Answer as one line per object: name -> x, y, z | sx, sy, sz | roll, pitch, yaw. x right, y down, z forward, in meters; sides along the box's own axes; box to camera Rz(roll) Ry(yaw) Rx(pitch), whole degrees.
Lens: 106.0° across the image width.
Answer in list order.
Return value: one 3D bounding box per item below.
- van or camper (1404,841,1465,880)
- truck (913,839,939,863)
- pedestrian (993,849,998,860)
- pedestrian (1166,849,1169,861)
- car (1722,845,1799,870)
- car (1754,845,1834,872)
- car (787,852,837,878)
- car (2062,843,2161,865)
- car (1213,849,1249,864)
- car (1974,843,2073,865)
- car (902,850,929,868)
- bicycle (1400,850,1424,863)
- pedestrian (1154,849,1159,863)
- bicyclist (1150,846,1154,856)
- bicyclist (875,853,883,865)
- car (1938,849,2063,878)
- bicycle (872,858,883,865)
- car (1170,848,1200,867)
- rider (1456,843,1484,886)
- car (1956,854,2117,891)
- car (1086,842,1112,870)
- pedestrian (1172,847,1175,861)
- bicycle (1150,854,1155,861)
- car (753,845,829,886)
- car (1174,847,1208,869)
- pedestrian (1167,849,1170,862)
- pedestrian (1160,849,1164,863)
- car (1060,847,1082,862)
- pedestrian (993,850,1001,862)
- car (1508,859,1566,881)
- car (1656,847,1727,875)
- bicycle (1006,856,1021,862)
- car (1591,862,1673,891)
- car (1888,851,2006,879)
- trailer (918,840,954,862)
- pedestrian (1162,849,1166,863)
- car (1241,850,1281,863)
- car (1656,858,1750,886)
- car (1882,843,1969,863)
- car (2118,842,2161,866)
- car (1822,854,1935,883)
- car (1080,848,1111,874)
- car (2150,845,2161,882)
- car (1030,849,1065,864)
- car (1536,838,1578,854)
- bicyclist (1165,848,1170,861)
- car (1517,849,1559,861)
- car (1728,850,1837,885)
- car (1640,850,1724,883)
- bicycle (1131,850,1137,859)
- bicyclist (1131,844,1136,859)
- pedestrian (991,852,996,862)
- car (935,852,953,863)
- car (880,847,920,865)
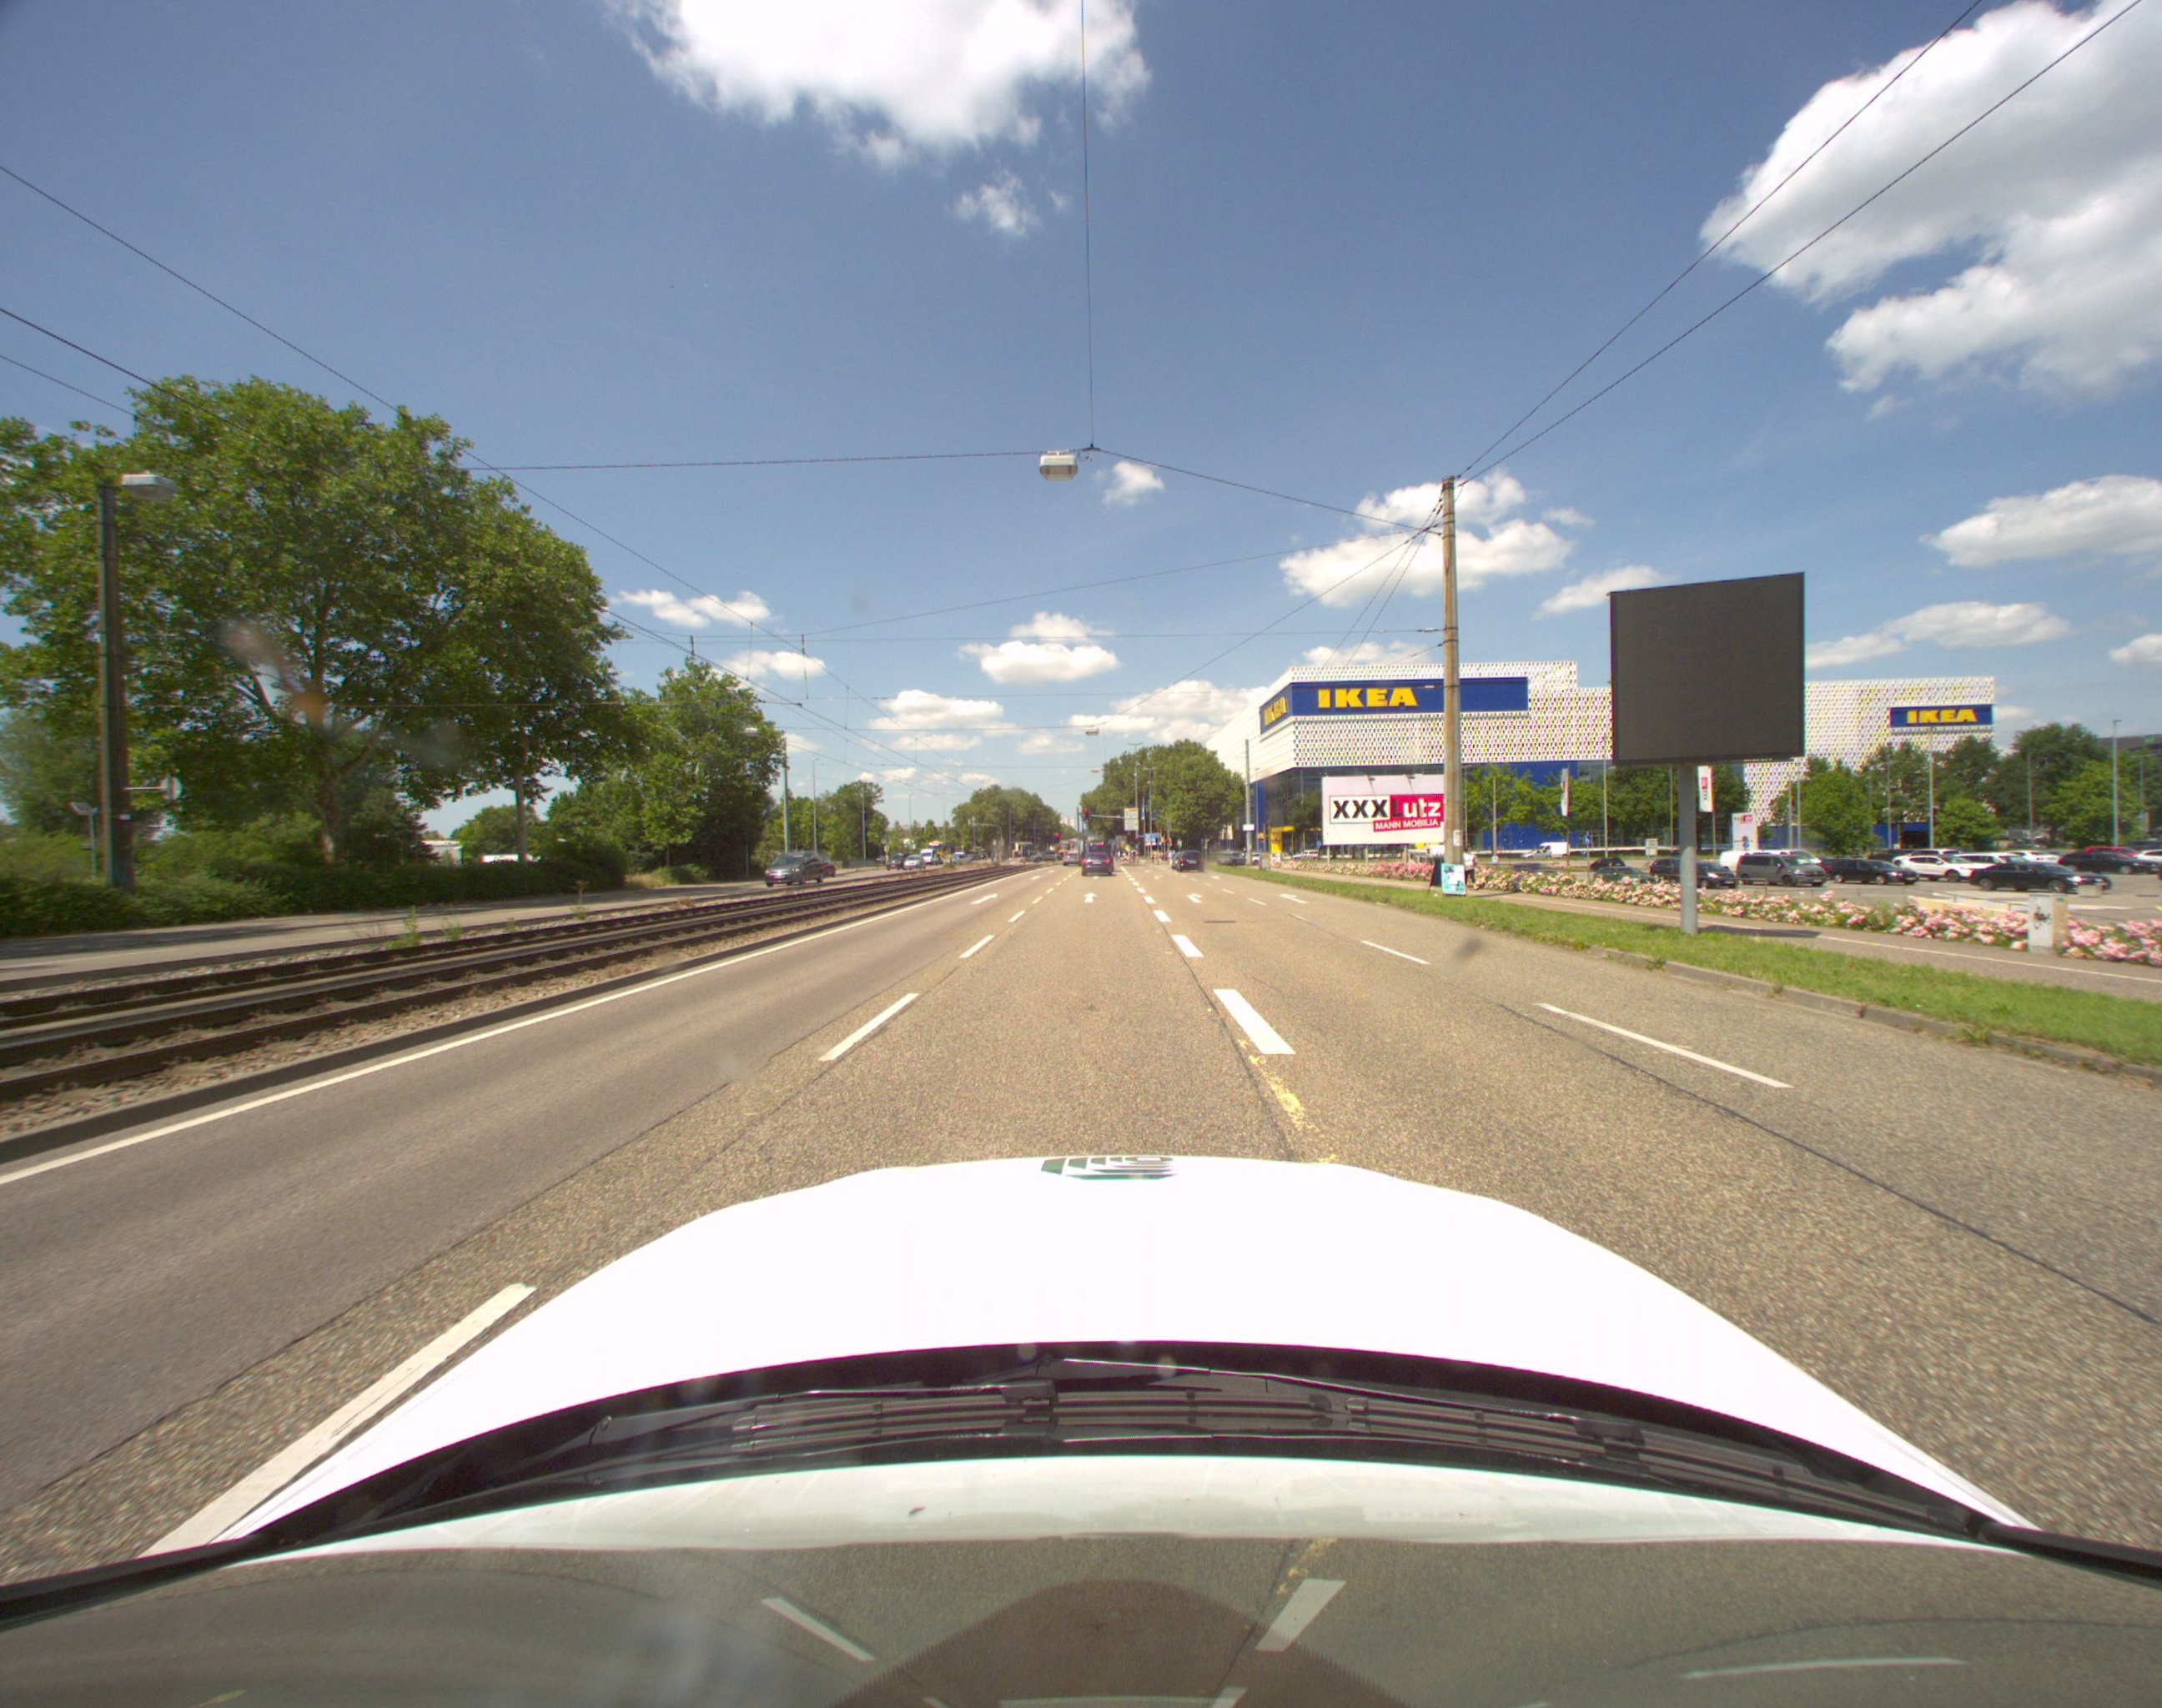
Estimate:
van or camper -> 29.104, 0.468, 67.359 | 2.495, 3.020, 7.234 | 0, 0, 5
truck -> -24.201, -0.465, 127.549 | 2.757, 3.569, 6.441 | 0, 0, 1
pedestrian -> -12.412, 0.113, 118.546 | 0.683, 1.637, 0.572 | 0, 0, -2
pedestrian -> 10.094, 0.119, 95.046 | 0.371, 1.303, 0.365 | 0, 0, 4
car -> 52.902, 0.233, 63.525 | 1.986, 1.852, 5.002 | 0, 0, 2
car -> 55.702, 0.321, 63.745 | 1.986, 2.007, 5.002 | 0, 0, 2
car -> -19.126, 0.751, 58.076 | 1.987, 1.670, 4.467 | -3, 0, 0
car -> 80.198, -0.025, 63.328 | 1.986, 1.610, 5.002 | 0, 0, 2
car -> 16.111, 0.261, 87.397 | 1.974, 1.486, 4.171 | 1, 1, 39
car -> 72.823, -0.014, 63.036 | 1.986, 1.610, 5.002 | 0, 0, 2
car -> -16.107, 0.455, 79.424 | 1.680, 1.583, 4.058 | -3, 0, 0
bicycle -> 37.858, 0.242, 93.229 | 2.411, 1.481, 0.990 | 0, 0, 5
pedestrian -> 8.858, 0.232, 95.121 | 0.551, 1.635, 0.433 | 0, 0, 4
bicyclist -> 8.505, -0.315, 97.153 | 0.468, 1.193, 0.792 | 0, 0, 4
bicyclist -> -29.480, 0.728, 118.893 | 1.116, 1.774, 0.340 | 0, 0, -4
car -> 55.044, 0.535, 48.913 | 1.986, 1.650, 5.002 | 0, 0, 2
bicycle -> -29.665, 1.119, 118.882 | 1.487, 0.987, 0.485 | 0, 0, -3
car -> 8.424, 0.255, 66.194 | 1.986, 1.486, 4.168 | 1, 1, 1
rider -> 13.308, 0.368, 27.876 | 0.667, 1.457, 0.618 | 0, 0, 1
car -> 45.562, 0.844, 39.060 | 1.986, 1.610, 5.002 | 0, 0, 2
car -> 1.293, 0.109, 59.529 | 1.830, 1.950, 4.001 | 0, 1, 1
pedestrian -> 10.804, -0.036, 95.049 | 0.319, 1.635, 0.377 | 0, 0, 4
bicycle -> 8.483, 0.437, 96.851 | 0.547, 0.877, 1.699 | 0, 0, 4
car -> -14.651, 0.525, 41.407 | 1.987, 1.830, 4.968 | -3, 0, 0
car -> 7.892, 0.280, 58.832 | 1.986, 1.486, 4.002 | 1, 1, 1
pedestrian -> 10.386, 0.177, 97.046 | 0.337, 1.635, 0.377 | 0, 0, 4
pedestrian -> 9.469, 0.273, 95.083 | 0.443, 1.635, 0.430 | 0, 0, 4
car -> -0.994, 0.050, 82.829 | 1.986, 1.486, 4.002 | 1, 1, 1
pedestrian -> -12.571, 0.308, 121.947 | 0.816, 1.720, 0.779 | 0, 0, 23
car -> 35.868, 1.205, 64.269 | 1.986, 1.537, 4.771 | -2, 0, 2
car -> 48.236, 0.498, 64.447 | 1.986, 2.134, 5.002 | 0, 0, 2
bicycle -> -9.849, 0.712, 118.800 | 2.055, 0.925, 0.751 | 0, 0, -9
car -> 32.961, 1.299, 48.872 | 1.986, 1.496, 4.304 | -3, 0, 2
car -> 52.270, 0.621, 49.332 | 1.986, 1.610, 5.002 | 0, 0, 2
trailer -> -24.017, -0.487, 135.630 | 2.757, 3.518, 15.882 | 0, 0, 1
pedestrian -> 9.921, 0.195, 97.214 | 0.380, 1.635, 0.377 | 0, 0, 4
car -> 21.490, 0.245, 97.481 | 4.398, 1.486, 1.983 | 1, 0, -26
car -> 37.545, 1.075, 49.336 | 1.986, 1.550, 5.002 | 0, 0, 2
car -> 70.247, -0.105, 67.877 | 1.990, 1.610, 4.994 | 0, 0, -4
car -> 72.806, 0.012, 53.942 | 1.986, 1.610, 5.002 | 0, 0, 2
car -> 47.441, 0.806, 48.607 | 1.986, 1.610, 5.002 | 0, 0, 2
car -> 0.889, 0.400, 49.676 | 1.786, 1.455, 4.002 | -2, 0, 1
car -> 53.335, 0.486, 37.718 | 1.986, 1.781, 4.335 | 1, 0, 2
car -> -4.622, 0.342, 112.132 | 4.409, 1.918, 1.987 | 1, 0, -19
car -> 67.211, -1.117, 115.072 | 4.737, 2.309, 2.003 | 0, 0, 4
bicyclist -> 11.367, 0.094, 107.413 | 0.525, 1.764, 0.831 | 0, 0, 15
car -> 60.510, 0.100, 107.842 | 4.476, 1.486, 2.003 | 1, 0, 4
car -> 42.335, 0.764, 49.360 | 1.986, 2.013, 5.537 | 0, 0, 2
car -> 40.257, 0.801, 54.730 | 1.986, 2.013, 5.002 | -2, 0, 2
bicycle -> 6.212, 0.073, 95.300 | 0.685, 0.993, 2.753 | 0, 0, 2
bicyclist -> 6.121, -0.321, 95.210 | 0.526, 1.789, 1.088 | 0, 0, 2
pedestrian -> -12.769, 0.420, 119.381 | 0.683, 1.443, 0.572 | 0, 0, -2
car -> -21.473, 0.503, 127.651 | 1.815, 1.670, 4.463 | 1, 0, 1
car -> -20.005, 0.222, 90.260 | 1.978, 1.830, 4.992 | -3, 0, 17
